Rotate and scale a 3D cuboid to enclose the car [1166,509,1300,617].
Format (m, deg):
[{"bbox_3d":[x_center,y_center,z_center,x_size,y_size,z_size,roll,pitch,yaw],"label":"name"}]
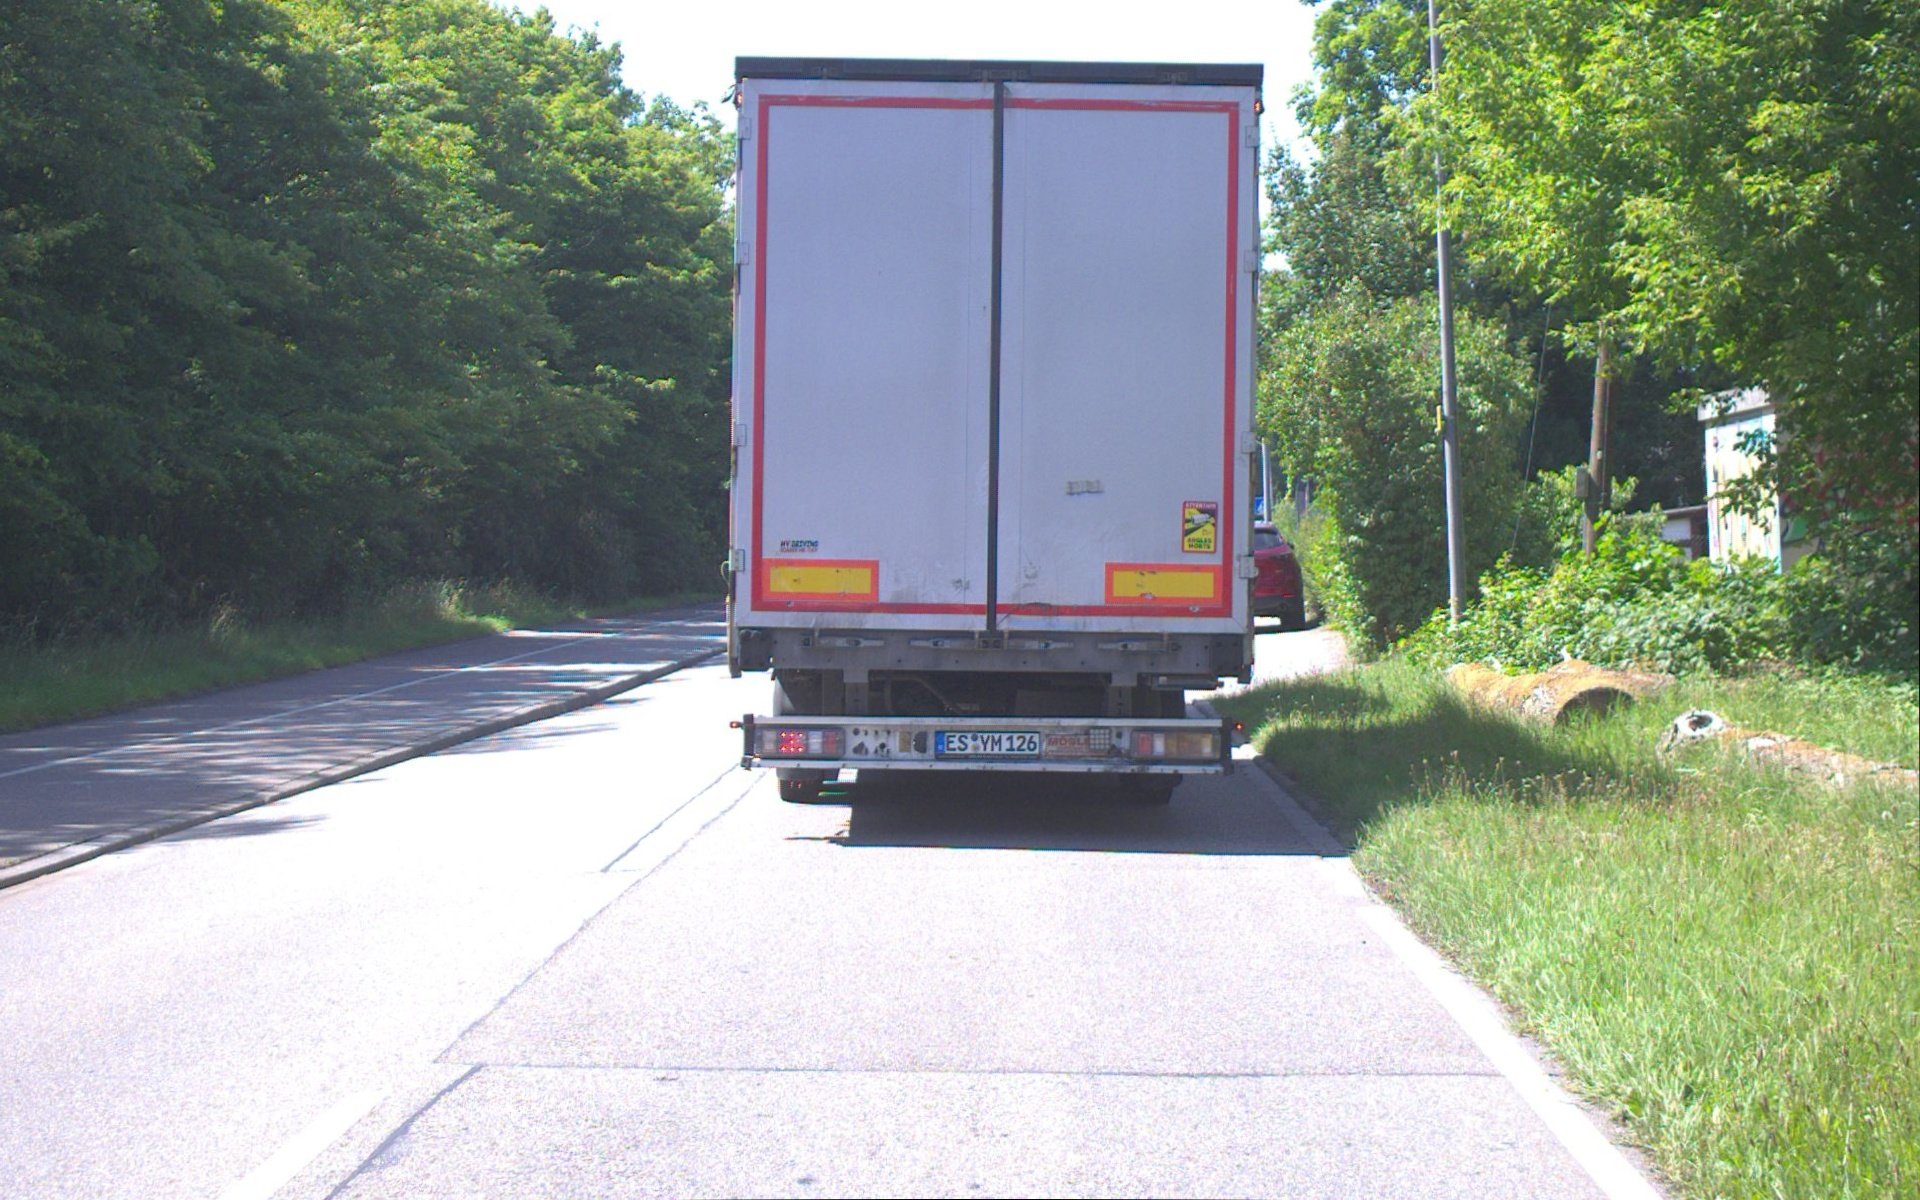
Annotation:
[{"bbox_3d":[4.074,-0.575,51.786,1.710,1.525,3.851,-1,1,0],"label":"car"}]

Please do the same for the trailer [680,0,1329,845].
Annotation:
[{"bbox_3d":[0.032,-0.974,21.219,3.077,4.056,9.810,0,1,-2],"label":"trailer"}]

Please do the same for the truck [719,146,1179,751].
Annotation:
[{"bbox_3d":[-0.215,-1.132,27.063,3.077,4.055,7.960,0,2,-2],"label":"truck"}]
